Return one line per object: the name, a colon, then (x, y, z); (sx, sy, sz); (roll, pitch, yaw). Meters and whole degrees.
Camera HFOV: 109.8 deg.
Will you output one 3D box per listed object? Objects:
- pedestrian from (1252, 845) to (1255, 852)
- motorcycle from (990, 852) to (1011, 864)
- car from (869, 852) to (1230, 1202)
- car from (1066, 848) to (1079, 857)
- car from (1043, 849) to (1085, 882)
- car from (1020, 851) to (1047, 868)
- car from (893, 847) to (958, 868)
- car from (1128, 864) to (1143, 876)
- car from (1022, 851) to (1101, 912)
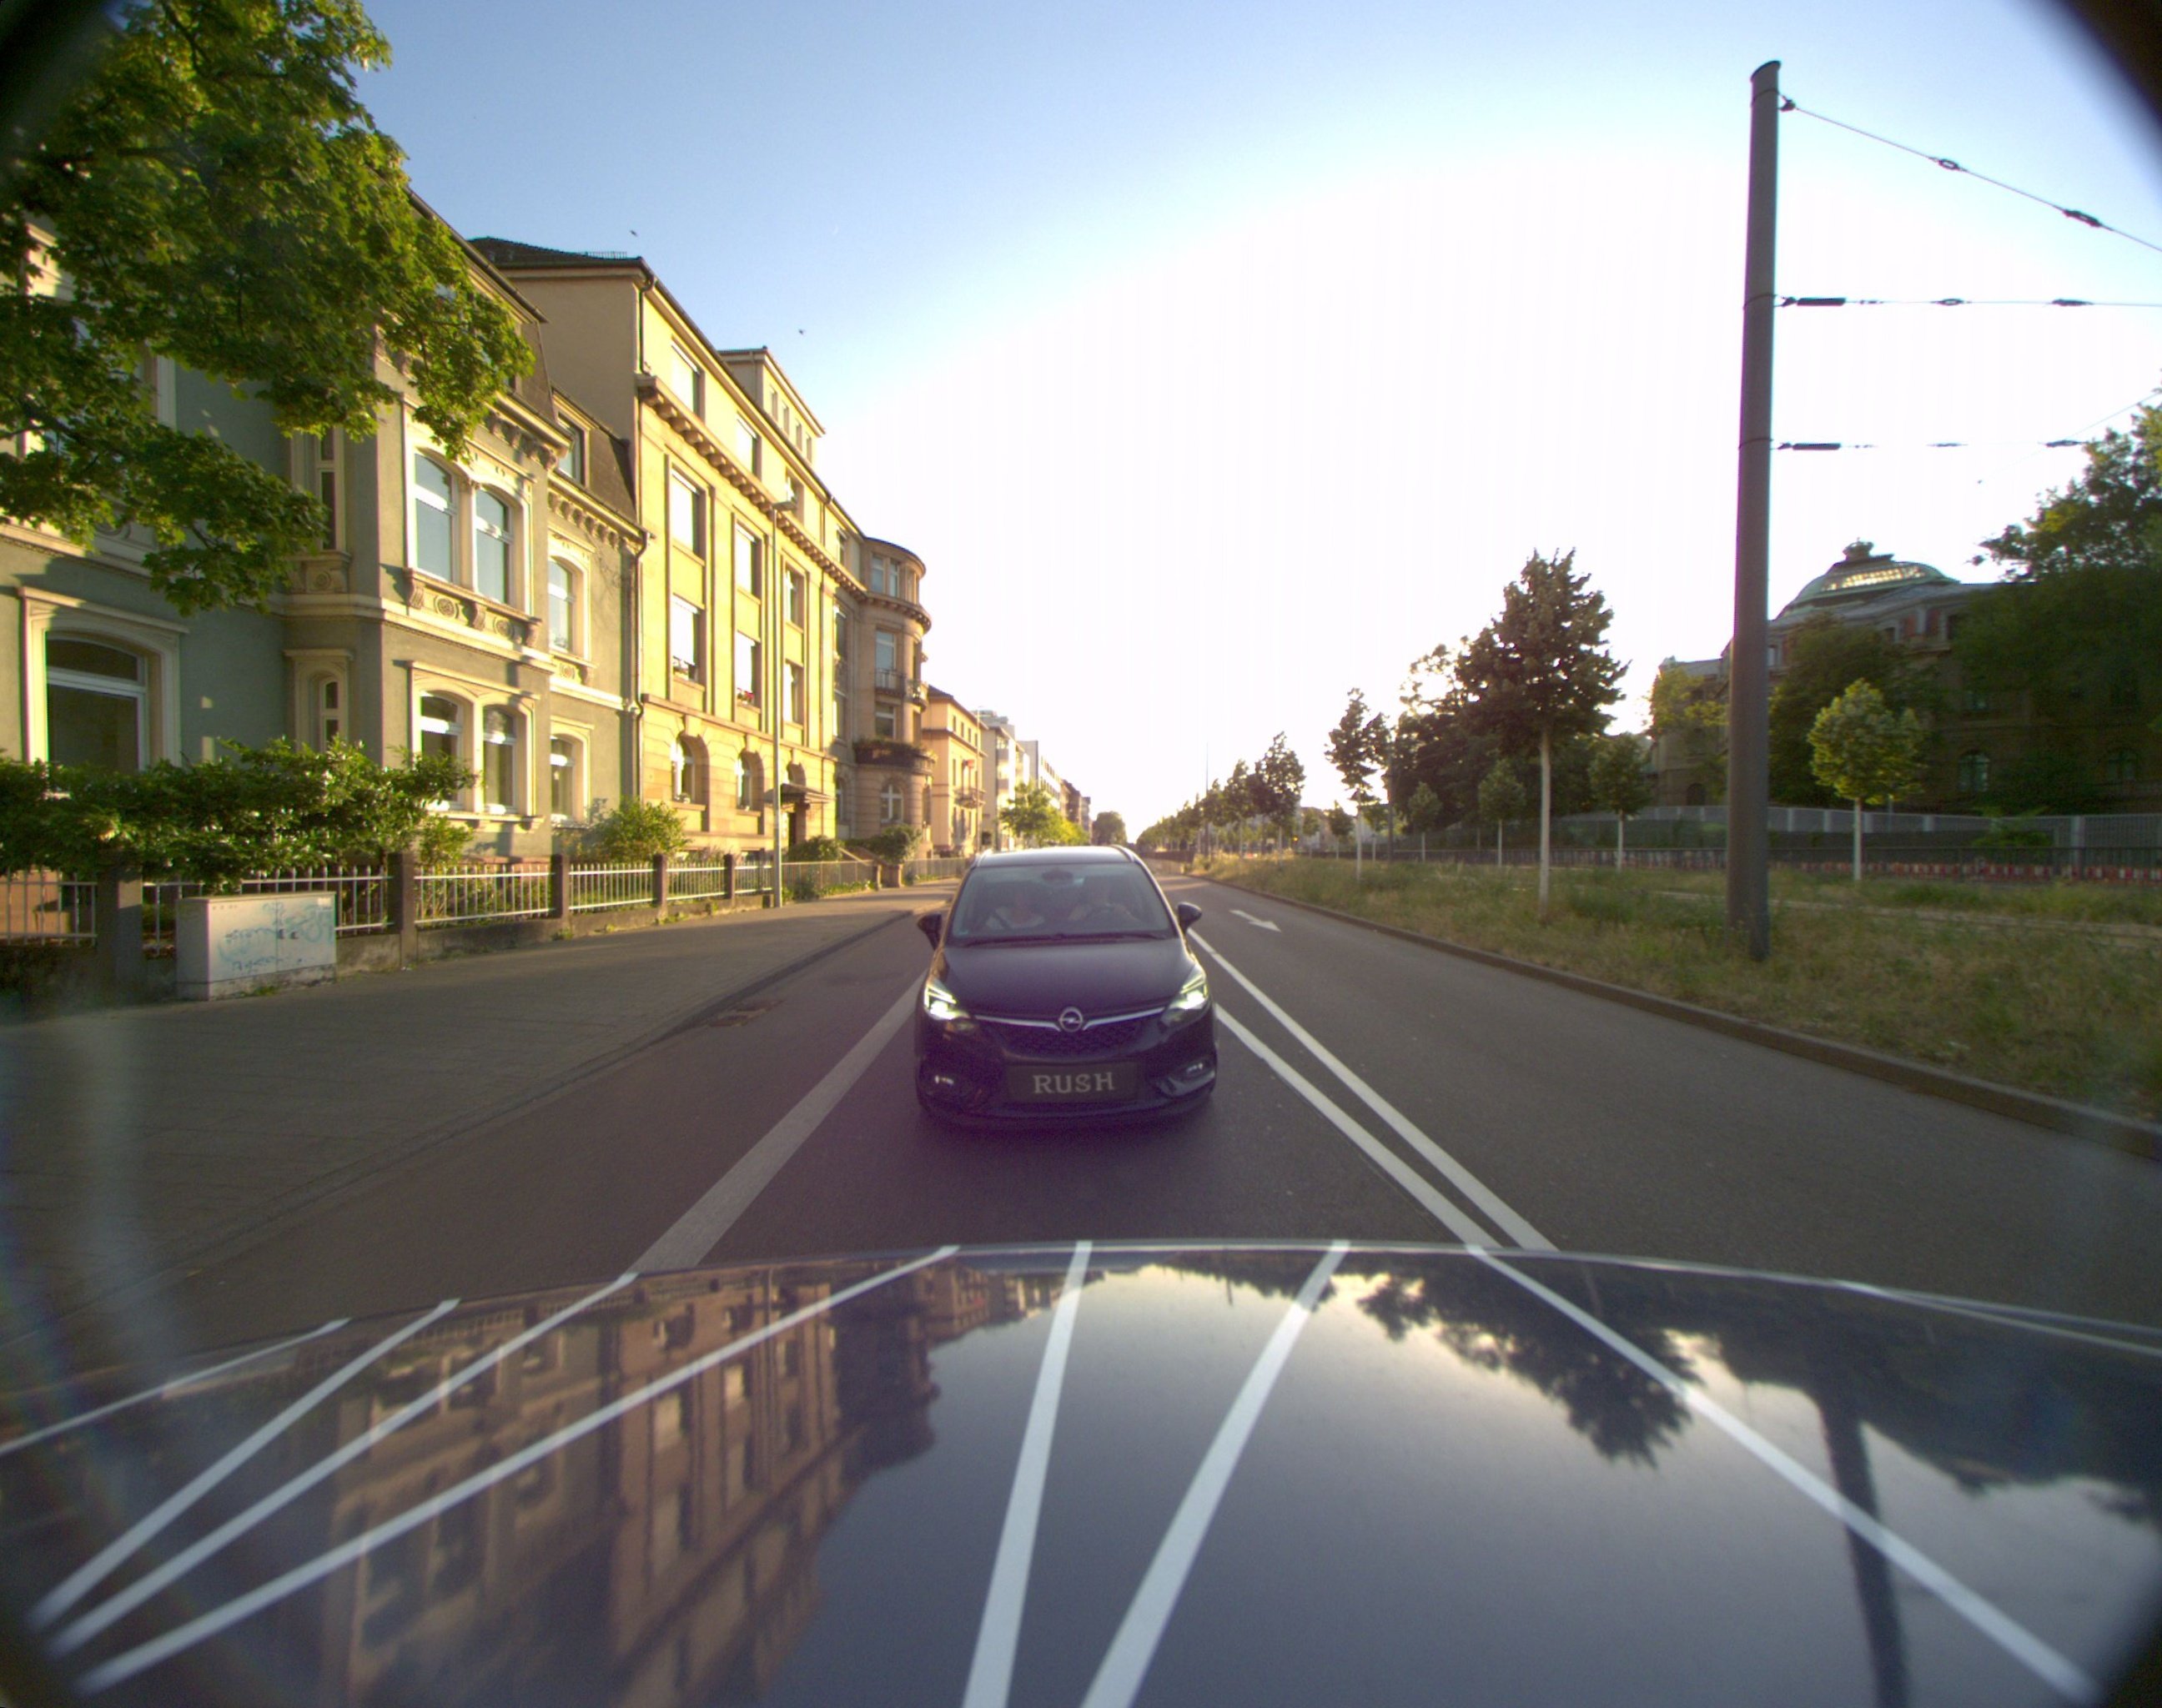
pedestrian: (40.178, -1.274, 177.050); (0.646, 1.702, 0.838); (0, 1, 10)
motorcycle: (-7.468, 0.359, 70.262); (1.848, 1.090, 0.576); (-1, 1, 8)
car: (-0.277, 0.846, 6.203); (1.771, 1.649, 4.850); (-1, 1, -3)
car: (-1.392, -0.214, 121.825); (1.937, 1.472, 4.100); (-1, 0, 1)
car: (-0.798, 0.554, 37.246); (1.859, 1.425, 4.843); (-2, -1, 0)
car: (-3.857, 0.429, 62.828); (1.882, 1.394, 4.100); (-1, 0, 1)
car: (-11.014, 0.242, 53.933); (4.096, 1.472, 1.938); (-1, 1, 3)
car: (7.292, 2.106, 101.175); (1.858, 1.425, 4.844); (-2, -1, 4)
car: (-0.479, 0.684, 20.743); (1.859, 1.425, 4.843); (-2, -1, 0)
